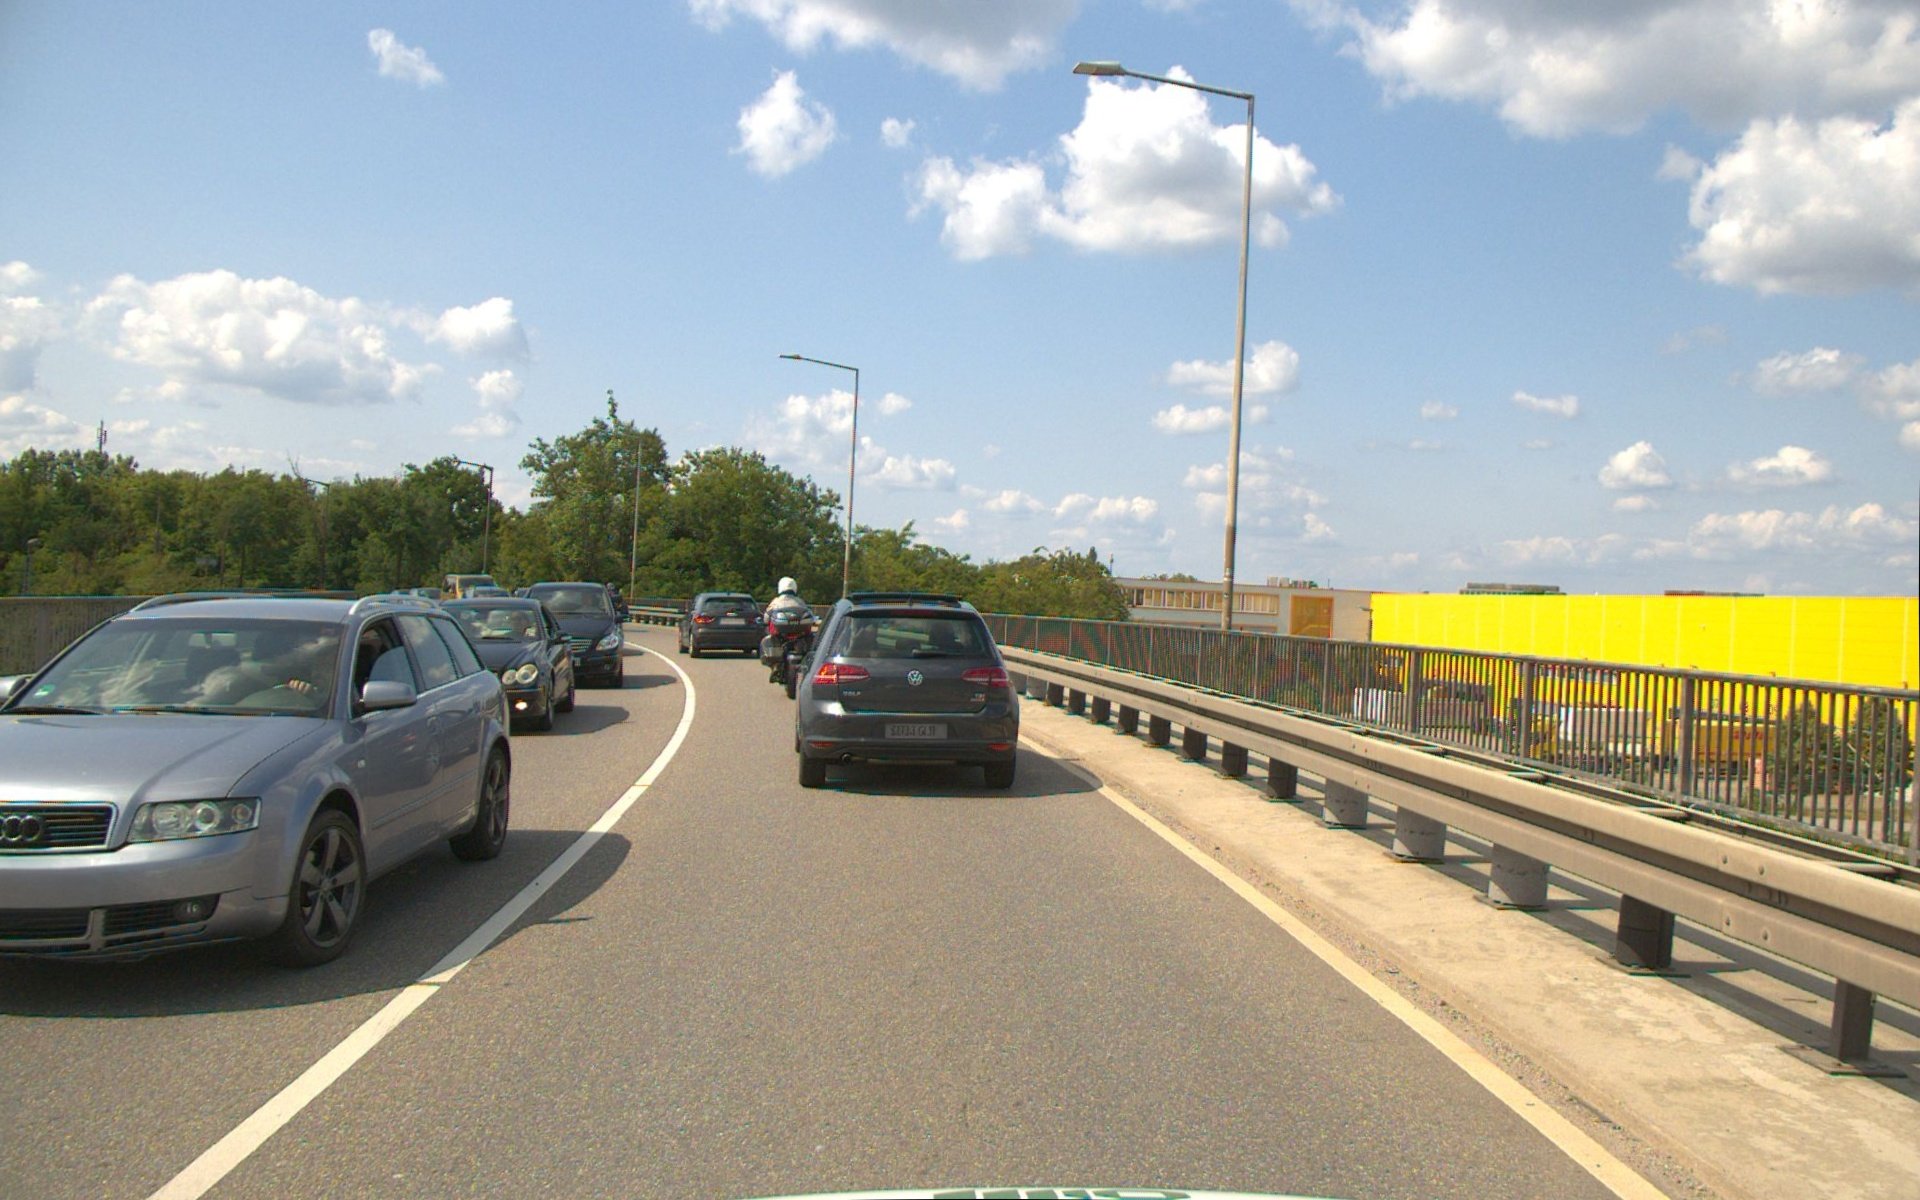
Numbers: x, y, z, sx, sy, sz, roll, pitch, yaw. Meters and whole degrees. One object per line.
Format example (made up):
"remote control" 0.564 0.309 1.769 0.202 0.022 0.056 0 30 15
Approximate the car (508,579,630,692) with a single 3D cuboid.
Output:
"car" -6.115 0.500 26.246 1.653 1.624 4.272 0 0 -10

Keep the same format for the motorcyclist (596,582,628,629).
"motorcyclist" -12.347 0.194 58.689 0.951 1.624 1.119 1 0 -19

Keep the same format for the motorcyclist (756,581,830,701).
"motorcyclist" -2.387 0.575 23.559 0.948 1.648 1.122 1 0 -9

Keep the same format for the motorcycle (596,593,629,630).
"motorcycle" -12.287 0.392 58.505 0.874 1.269 2.387 1 0 -18

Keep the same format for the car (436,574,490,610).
"car" -20.712 -0.344 68.863 1.850 1.426 3.861 0 0 -22

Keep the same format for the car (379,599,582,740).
"car" -5.260 0.696 18.622 1.601 1.368 4.245 -1 0 -8

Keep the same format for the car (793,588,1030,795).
"car" -0.540 0.683 14.070 1.611 1.504 3.865 1 0 -8

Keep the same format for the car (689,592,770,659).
"car" -5.233 0.583 37.209 1.651 1.412 3.729 1 -1 -10

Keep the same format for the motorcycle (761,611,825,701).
"motorcycle" -2.392 0.763 23.436 0.774 1.151 2.394 1 0 -9

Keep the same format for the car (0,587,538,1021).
"car" -3.347 0.710 7.835 1.731 1.485 4.296 -1 0 -2
